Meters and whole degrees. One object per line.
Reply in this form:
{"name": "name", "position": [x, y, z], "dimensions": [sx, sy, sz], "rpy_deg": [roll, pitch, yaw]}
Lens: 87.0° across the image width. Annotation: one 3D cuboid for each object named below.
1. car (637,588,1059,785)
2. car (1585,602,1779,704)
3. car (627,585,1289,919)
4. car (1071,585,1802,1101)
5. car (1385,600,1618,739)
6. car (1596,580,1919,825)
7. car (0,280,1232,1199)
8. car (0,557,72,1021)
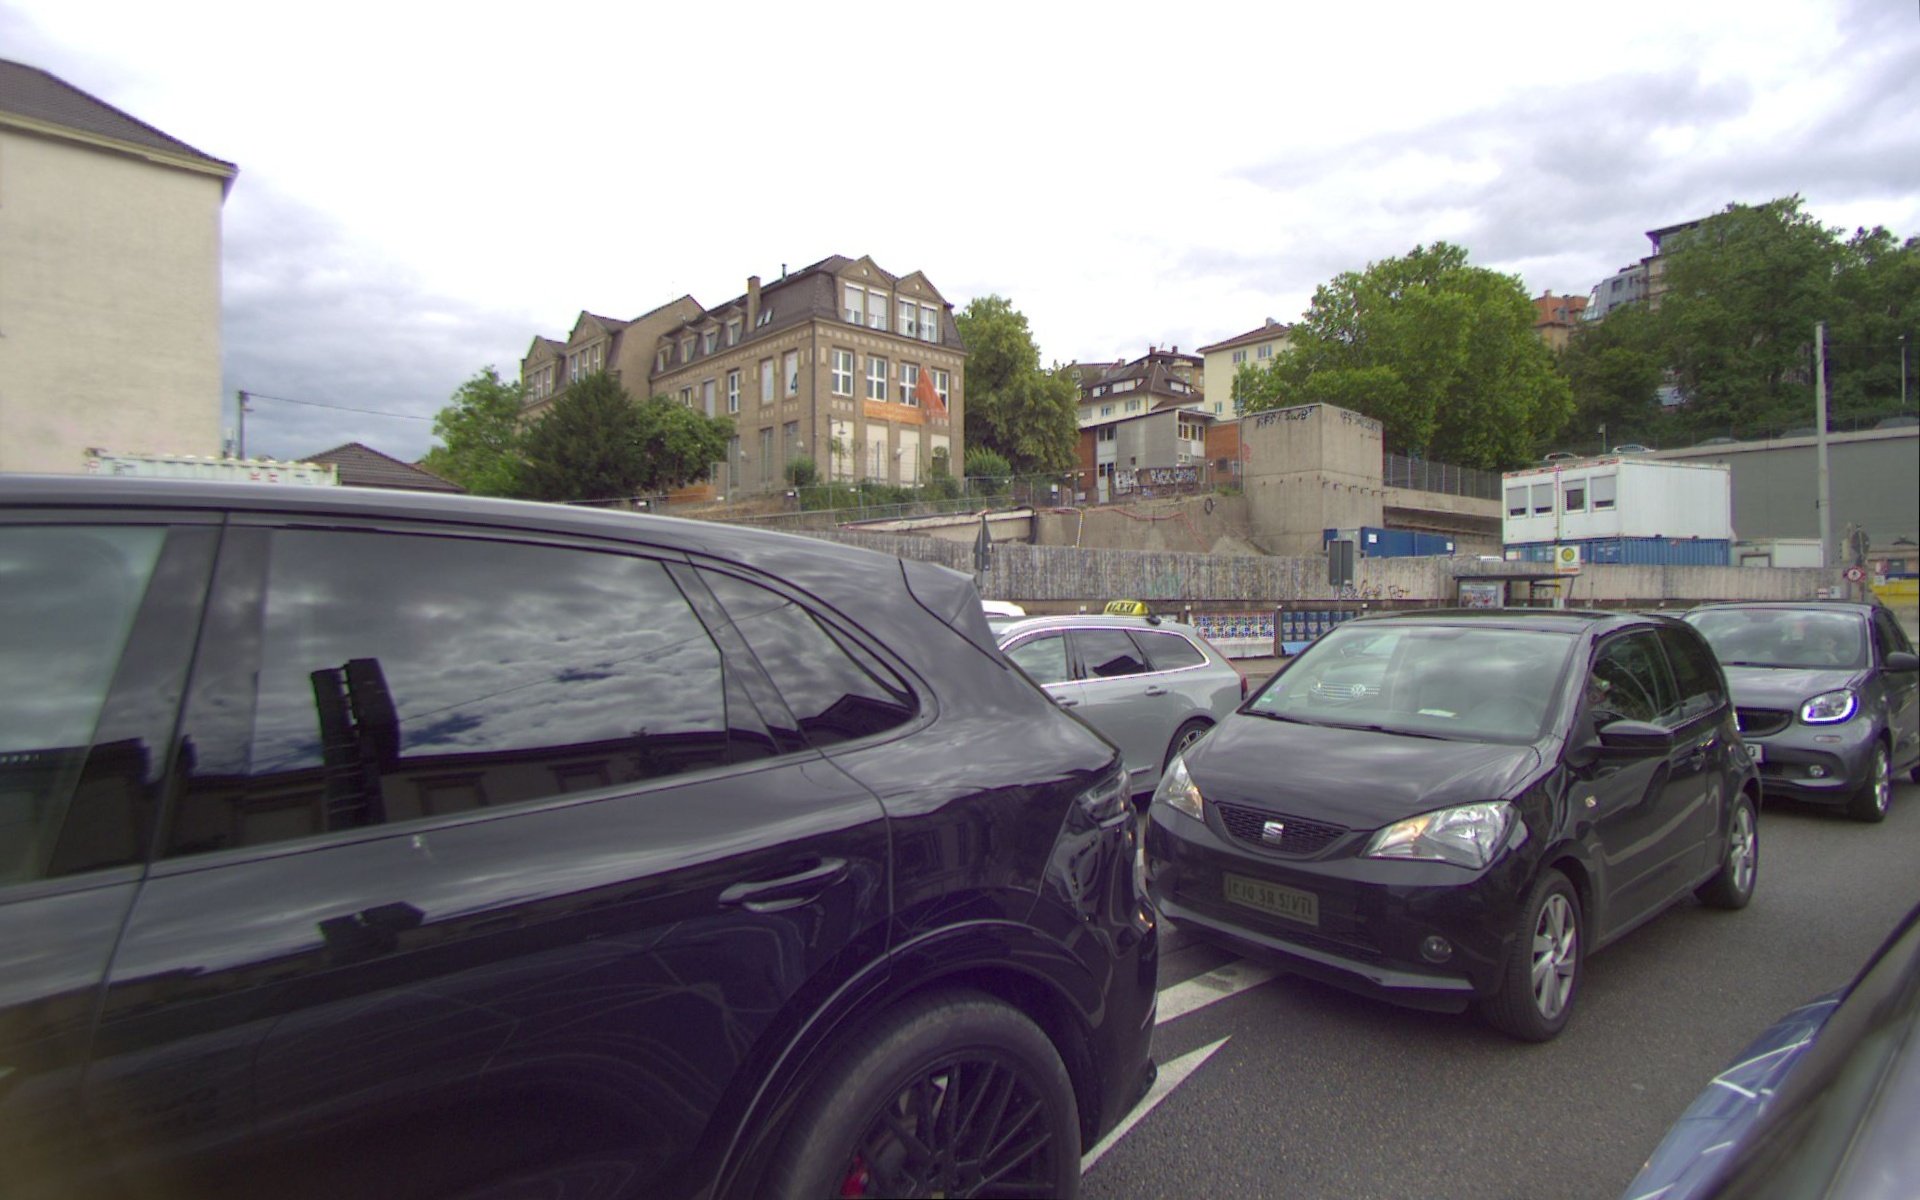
{"name": "car", "position": [-1.009, 0.704, 10.480], "dimensions": [4.136, 1.645, 1.679], "rpy_deg": [-1, 0, -41]}
{"name": "car", "position": [11.505, 0.743, 16.056], "dimensions": [3.740, 1.383, 1.679], "rpy_deg": [-1, 0, -41]}
{"name": "car", "position": [0.267, 0.727, 7.263], "dimensions": [4.725, 1.645, 1.827], "rpy_deg": [-1, 0, -41]}
{"name": "car", "position": [2.434, 0.675, 4.793], "dimensions": [3.636, 1.476, 1.827], "rpy_deg": [-1, 0, -41]}
{"name": "car", "position": [6.629, 0.741, 12.331], "dimensions": [2.667, 1.449, 1.664], "rpy_deg": [-1, 0, -41]}
{"name": "car", "position": [6.779, 0.658, 8.248], "dimensions": [3.511, 1.563, 1.720], "rpy_deg": [0, 0, -40]}
{"name": "car", "position": [-1.624, 0.553, 1.602], "dimensions": [4.406, 1.737, 1.827], "rpy_deg": [-1, 0, -41]}
{"name": "car", "position": [-5.307, 0.685, 3.041], "dimensions": [3.930, 1.645, 1.679], "rpy_deg": [-1, 0, -41]}
